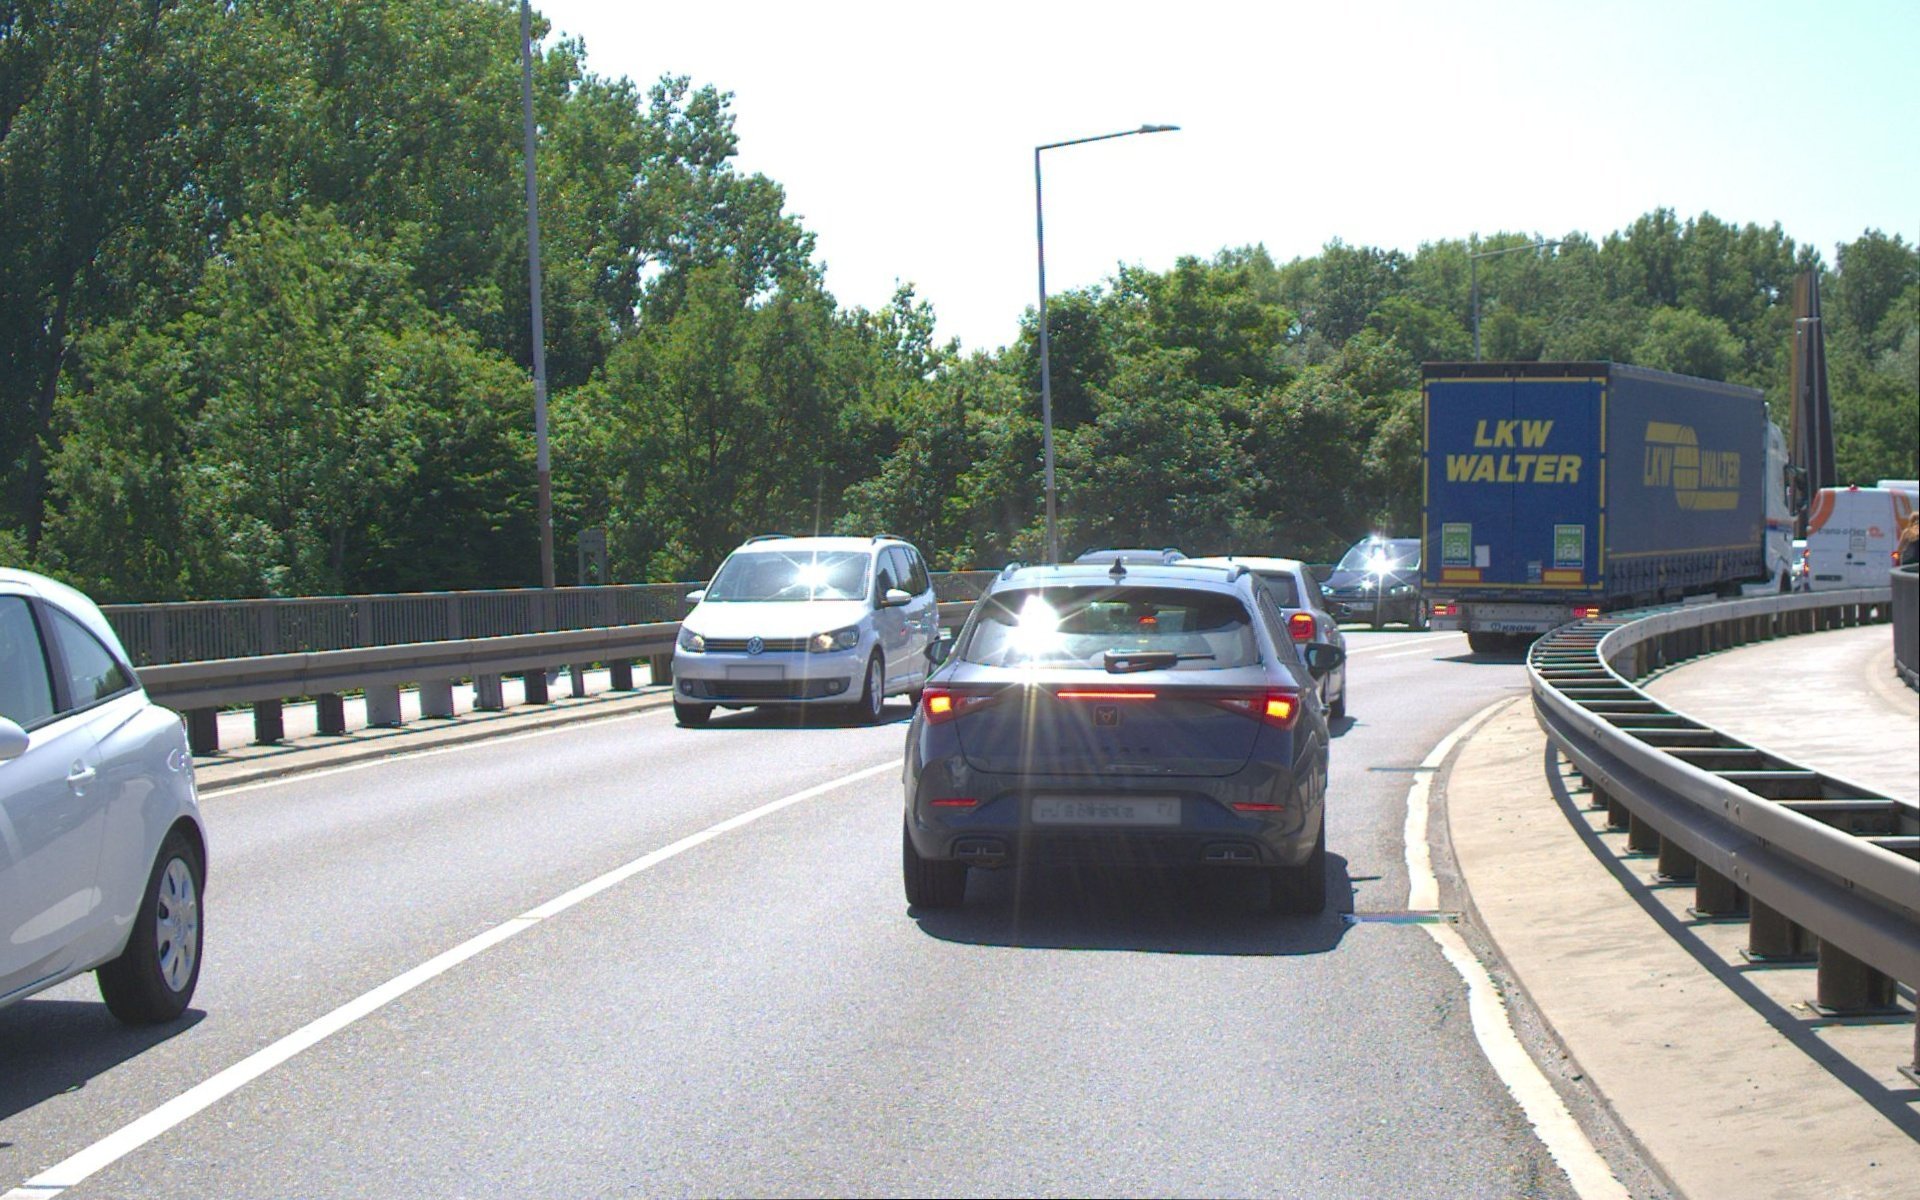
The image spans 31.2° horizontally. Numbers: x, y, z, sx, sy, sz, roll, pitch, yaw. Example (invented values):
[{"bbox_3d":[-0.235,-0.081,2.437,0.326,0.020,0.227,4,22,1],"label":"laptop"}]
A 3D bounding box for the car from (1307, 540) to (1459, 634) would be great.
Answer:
[{"bbox_3d":[7.513,-0.225,60.759,1.908,1.584,3.996,-1,0,18],"label":"car"}]

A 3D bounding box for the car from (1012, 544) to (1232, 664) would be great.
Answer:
[{"bbox_3d":[2.175,0.033,44.980,1.888,1.491,4.312,0,0,17],"label":"car"}]

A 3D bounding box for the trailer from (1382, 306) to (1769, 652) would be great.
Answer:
[{"bbox_3d":[9.656,-1.651,52.206,3.137,4.598,12.933,1,1,22],"label":"trailer"}]

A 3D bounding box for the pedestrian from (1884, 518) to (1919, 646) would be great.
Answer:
[{"bbox_3d":[14.663,-0.279,52.938,0.737,1.961,0.733,1,0,22],"label":"pedestrian"}]

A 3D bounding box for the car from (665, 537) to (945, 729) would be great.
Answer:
[{"bbox_3d":[-1.320,0.258,31.032,1.716,1.609,4.117,0,1,9],"label":"car"}]

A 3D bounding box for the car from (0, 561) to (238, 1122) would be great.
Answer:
[{"bbox_3d":[-3.382,0.647,9.399,1.725,1.478,3.865,-1,0,4],"label":"car"}]

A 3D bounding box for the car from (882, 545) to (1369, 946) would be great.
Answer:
[{"bbox_3d":[0.699,0.526,15.013,1.845,1.493,3.758,0,1,2],"label":"car"}]

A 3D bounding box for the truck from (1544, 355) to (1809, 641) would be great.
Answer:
[{"bbox_3d":[12.402,-1.656,59.009,3.173,4.569,7.388,1,0,22],"label":"truck"}]

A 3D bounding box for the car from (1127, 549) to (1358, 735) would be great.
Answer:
[{"bbox_3d":[2.461,0.324,29.312,1.594,1.456,3.543,1,1,10],"label":"car"}]

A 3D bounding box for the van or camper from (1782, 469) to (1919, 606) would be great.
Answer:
[{"bbox_3d":[18.993,-1.295,70.741,2.207,2.702,5.915,1,2,32],"label":"van or camper"}]
